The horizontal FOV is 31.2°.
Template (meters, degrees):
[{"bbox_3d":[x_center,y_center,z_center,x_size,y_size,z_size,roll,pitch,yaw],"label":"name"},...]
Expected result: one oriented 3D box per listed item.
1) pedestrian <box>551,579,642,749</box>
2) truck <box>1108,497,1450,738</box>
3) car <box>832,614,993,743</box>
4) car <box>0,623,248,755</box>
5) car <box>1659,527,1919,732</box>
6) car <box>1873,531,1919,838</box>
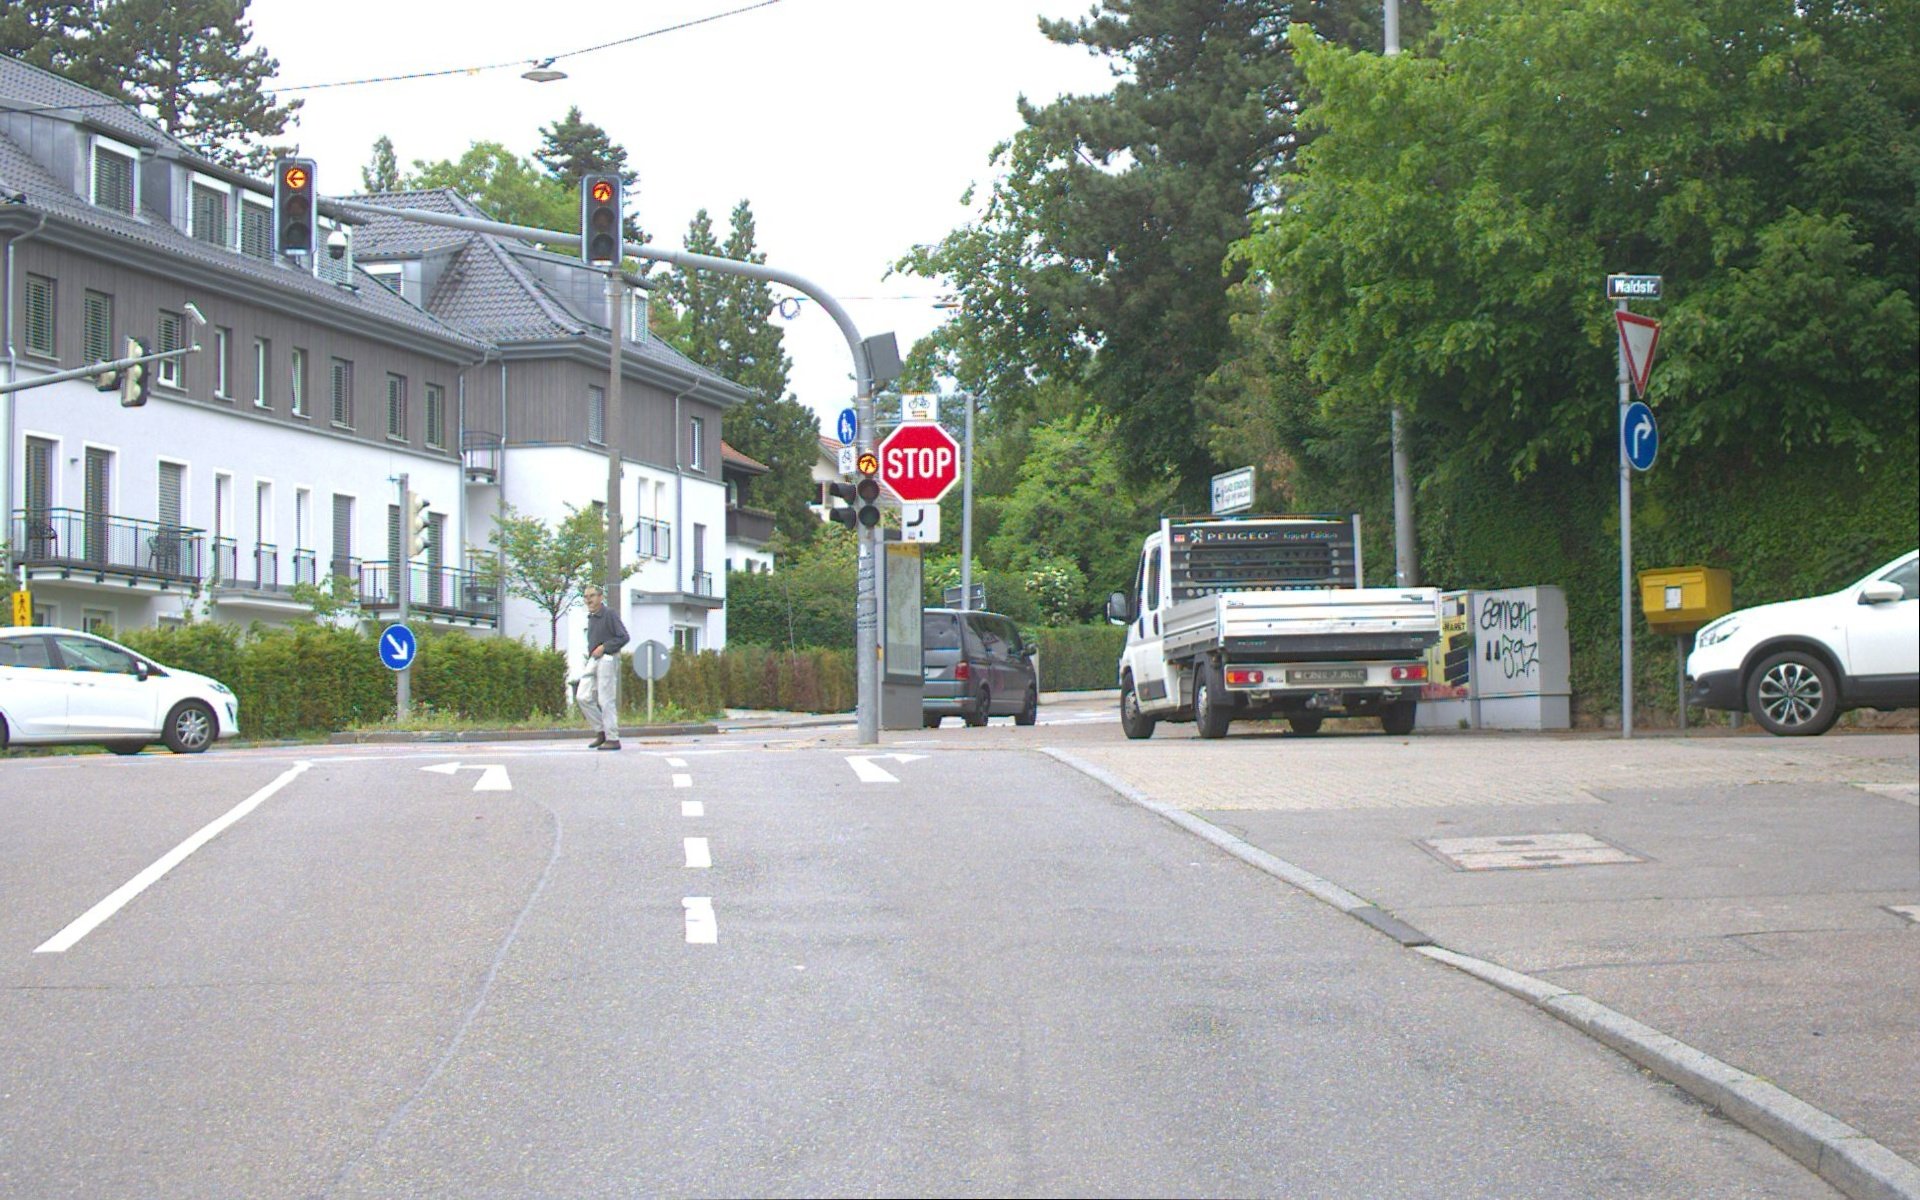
[{"bbox_3d":[-3.671,0.636,34.678,0.698,1.676,0.686,-1,1,-27],"label":"pedestrian"},{"bbox_3d":[3.042,0.263,34.297,2.183,2.188,5.882,0,-2,-7],"label":"truck"},{"bbox_3d":[-0.731,1.262,56.000,1.994,2.007,4.508,-1,-1,7],"label":"car"},{"bbox_3d":[-10.103,0.959,37.867,3.988,1.378,1.936,0,0,-40],"label":"car"},{"bbox_3d":[7.914,0.260,27.821,4.243,1.588,1.986,-1,-3,17],"label":"car"},{"bbox_3d":[5.553,0.379,14.854,1.848,1.467,4.386,-3,1,-2],"label":"car"}]
